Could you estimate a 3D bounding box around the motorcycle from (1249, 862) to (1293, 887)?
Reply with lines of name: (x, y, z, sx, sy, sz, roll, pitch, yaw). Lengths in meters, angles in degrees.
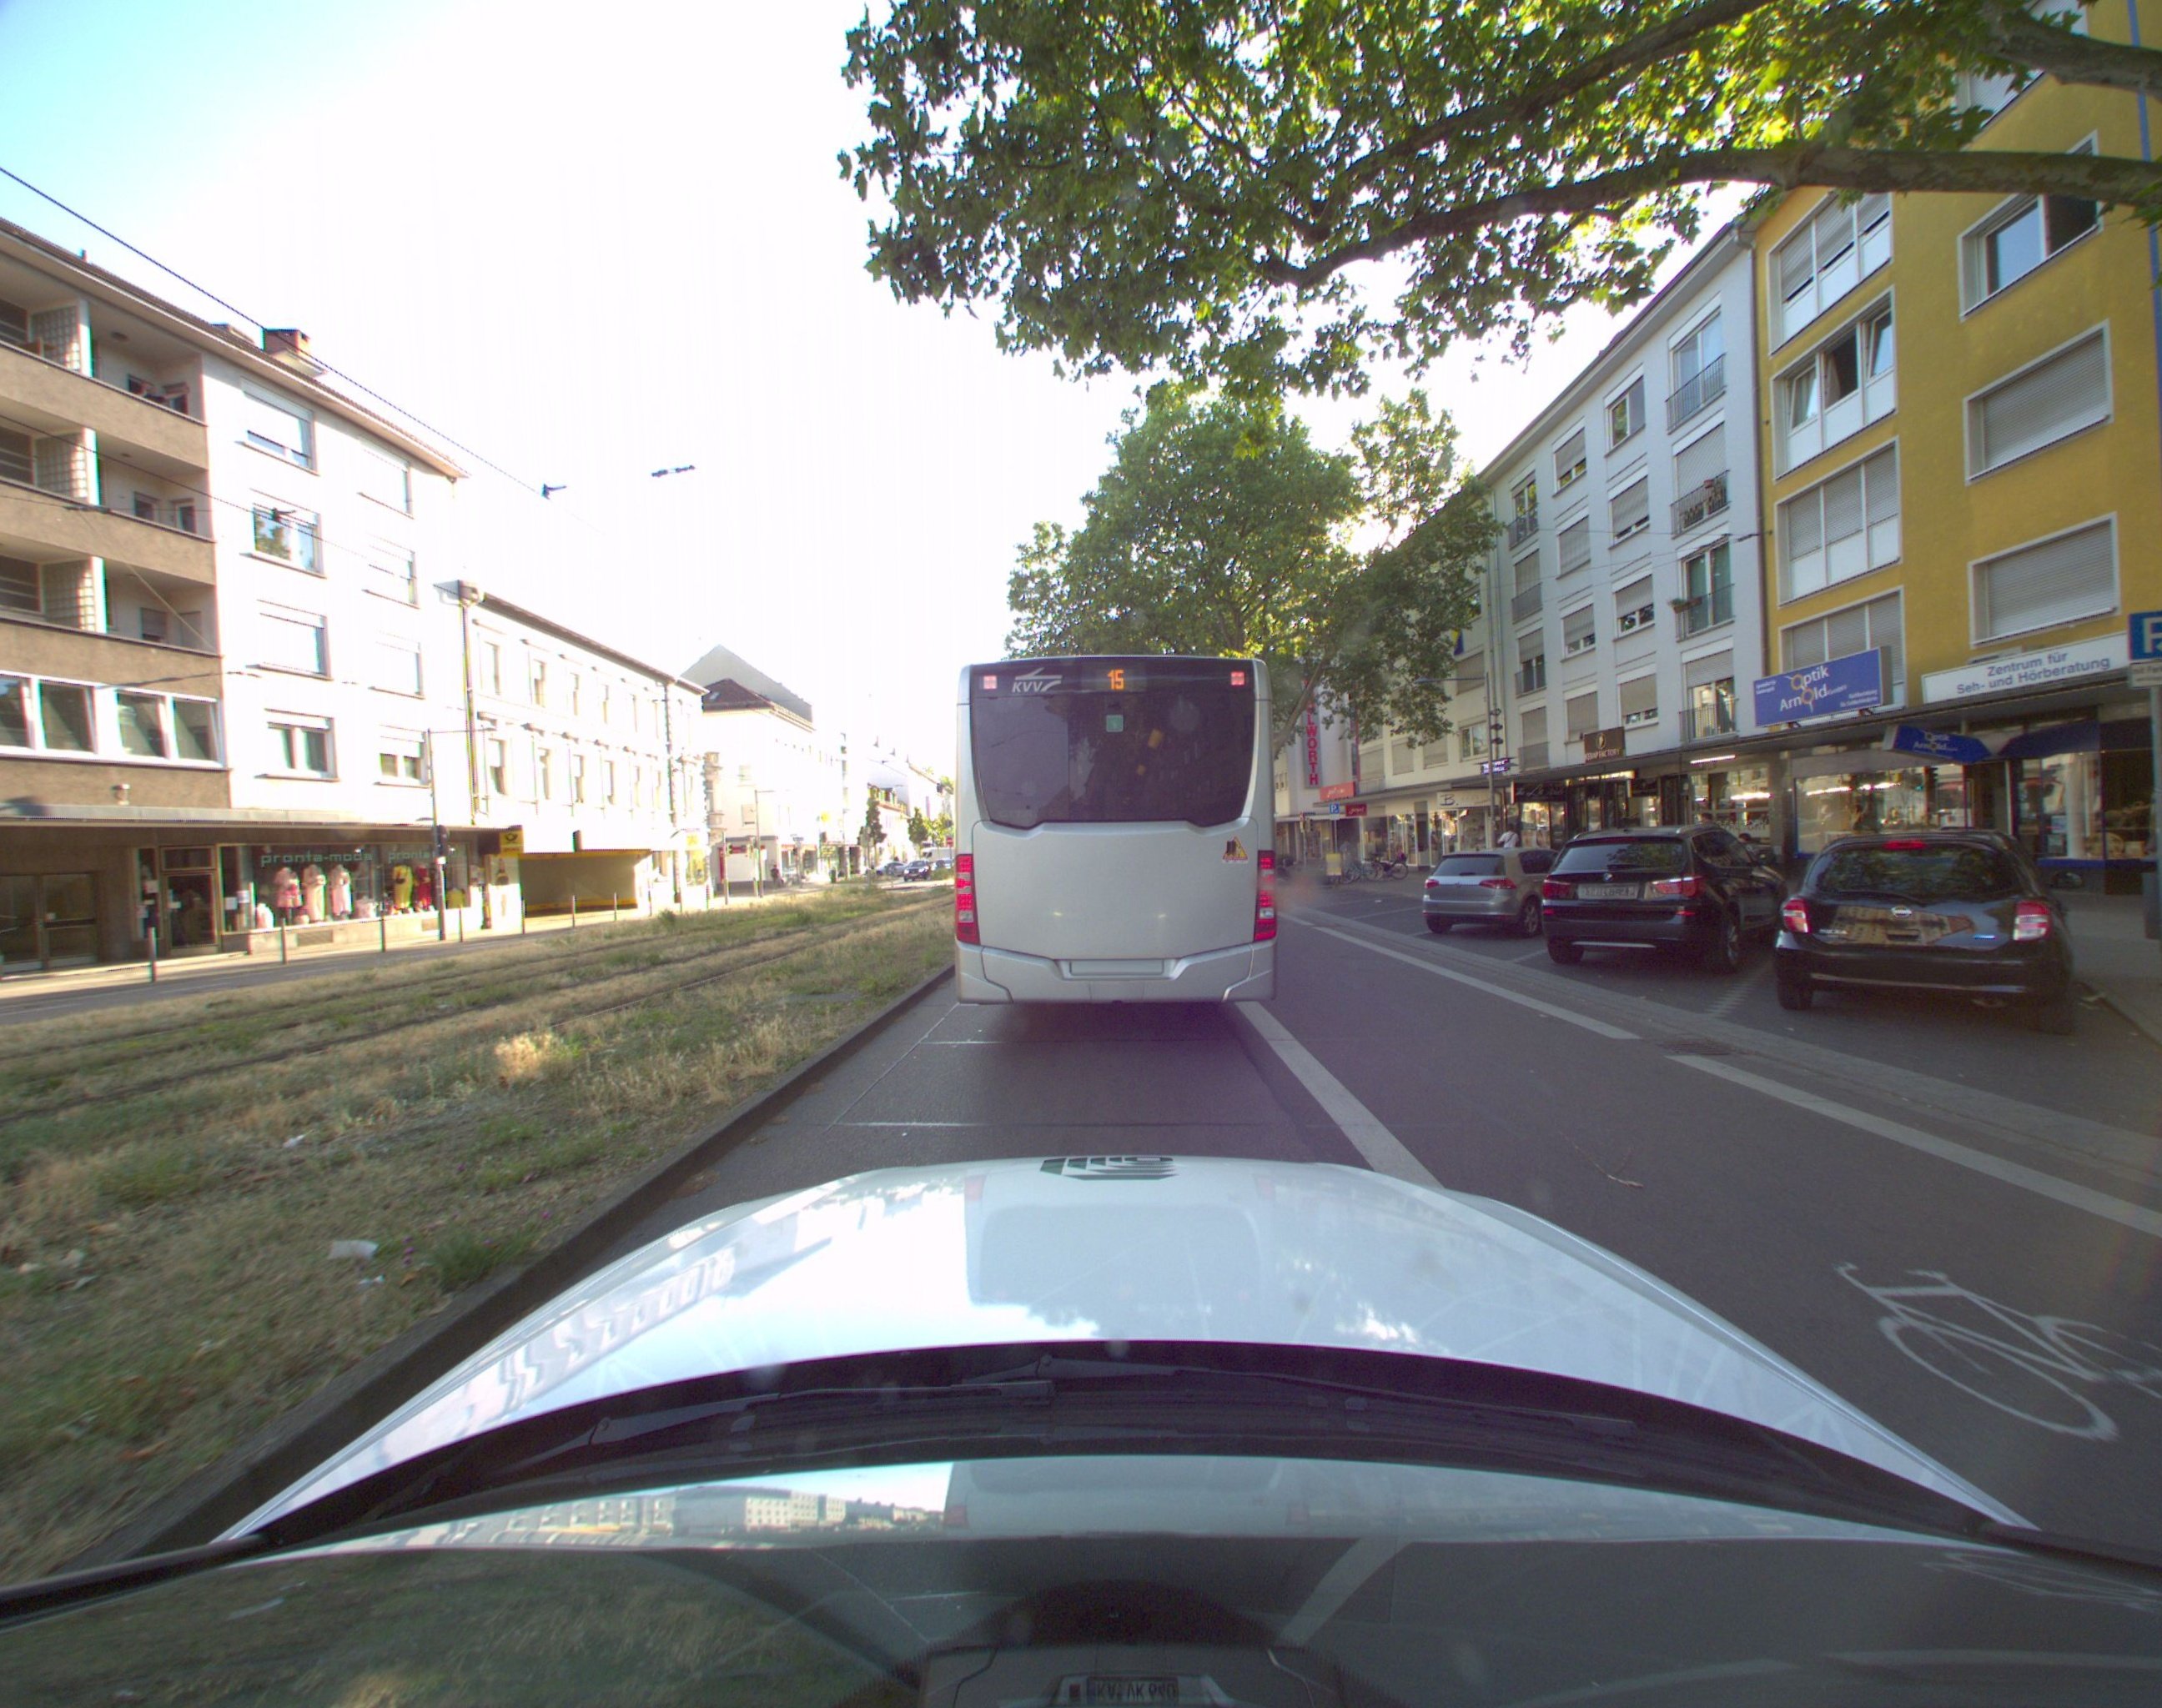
motorcycle: (7.524, 0.810, 32.239, 1.565, 0.892, 0.544, -3, 0, -1)

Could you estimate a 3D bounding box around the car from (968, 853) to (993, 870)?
car: (-11.020, 0.832, 89.299, 1.773, 1.615, 4.513, -5, 0, 4)

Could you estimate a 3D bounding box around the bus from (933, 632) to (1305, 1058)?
bus: (0.464, -0.086, 9.579, 2.667, 3.083, 7.120, -1, 0, 3)

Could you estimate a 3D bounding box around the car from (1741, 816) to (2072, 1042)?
car: (7.648, 0.491, 7.452, 3.626, 1.540, 1.721, -3, 0, -39)

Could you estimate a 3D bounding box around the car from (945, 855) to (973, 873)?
car: (-12.158, 0.984, 81.381, 1.773, 1.450, 4.049, -5, 1, 4)

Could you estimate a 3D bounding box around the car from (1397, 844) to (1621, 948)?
car: (7.644, 0.655, 14.412, 4.196, 1.451, 1.790, -3, 0, -36)

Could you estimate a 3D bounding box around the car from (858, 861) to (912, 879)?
car: (-18.539, 1.515, 77.130, 4.571, 1.412, 1.979, -3, 0, -35)

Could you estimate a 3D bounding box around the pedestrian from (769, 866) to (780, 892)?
pedestrian: (-20.762, 1.674, 55.191, 0.423, 1.713, 0.509, -3, 0, 6)

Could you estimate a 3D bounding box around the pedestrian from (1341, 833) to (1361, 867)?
pedestrian: (14.313, -0.210, 43.182, 0.777, 1.794, 0.764, -3, 0, 2)

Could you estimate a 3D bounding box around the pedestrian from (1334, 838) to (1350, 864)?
pedestrian: (17.827, -0.225, 55.559, 0.746, 1.679, 0.834, -3, 2, -4)

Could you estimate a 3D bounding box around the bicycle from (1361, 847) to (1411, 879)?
bicycle: (12.434, 0.360, 33.261, 1.753, 1.154, 0.680, -4, 0, 10)

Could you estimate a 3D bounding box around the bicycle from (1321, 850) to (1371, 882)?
bicycle: (11.176, 0.511, 34.374, 1.783, 1.189, 0.671, -5, -1, -7)

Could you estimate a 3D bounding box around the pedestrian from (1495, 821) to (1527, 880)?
pedestrian: (14.177, -0.113, 26.875, 0.639, 1.876, 0.827, -3, 0, 10)

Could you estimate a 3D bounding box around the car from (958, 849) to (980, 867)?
car: (-13.060, 0.460, 95.258, 1.988, 2.013, 3.999, -3, 0, -1)

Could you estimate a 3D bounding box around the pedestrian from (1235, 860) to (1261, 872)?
pedestrian: (8.825, 0.614, 43.136, 1.250, 0.589, 0.482, -2, 0, 0)

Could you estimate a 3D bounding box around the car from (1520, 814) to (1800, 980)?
car: (7.502, 0.406, 10.408, 4.172, 1.681, 1.789, -3, 0, -39)

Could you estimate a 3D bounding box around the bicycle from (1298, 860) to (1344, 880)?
bicycle: (10.718, 0.704, 36.393, 1.864, 0.765, 0.714, -3, 1, 10)

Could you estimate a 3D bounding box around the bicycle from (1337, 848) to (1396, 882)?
bicycle: (11.535, 0.438, 32.938, 2.069, 1.233, 0.833, -4, 0, 6)

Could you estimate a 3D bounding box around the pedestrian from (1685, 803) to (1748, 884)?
pedestrian: (14.715, -0.243, 18.886, 0.703, 1.791, 0.789, -6, -1, 8)

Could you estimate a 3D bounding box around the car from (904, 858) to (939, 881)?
car: (-12.046, 1.158, 61.701, 1.715, 1.509, 3.479, -5, 0, 3)

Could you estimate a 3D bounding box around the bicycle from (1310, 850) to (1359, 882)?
bicycle: (10.979, 0.508, 35.385, 1.864, 1.189, 0.713, -6, -1, 10)
